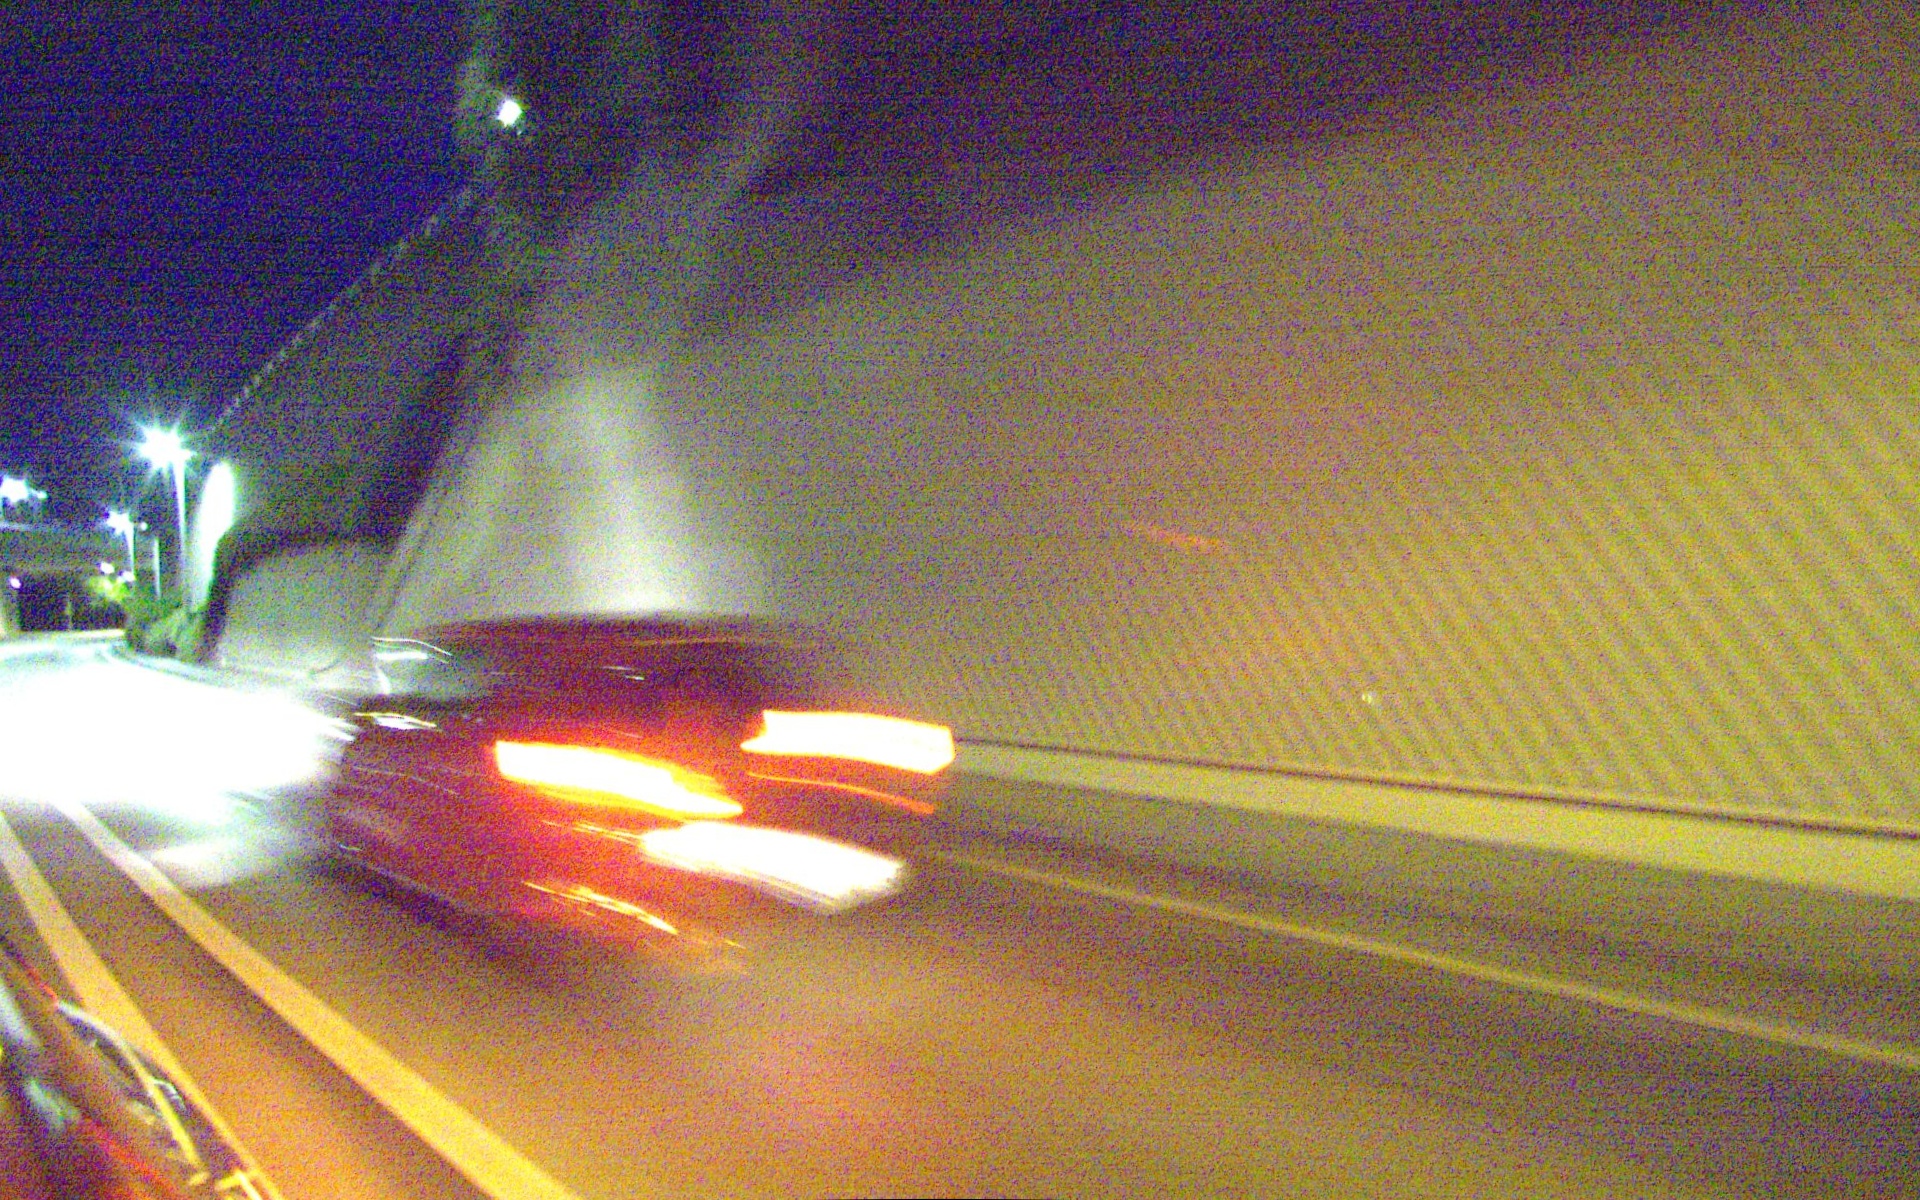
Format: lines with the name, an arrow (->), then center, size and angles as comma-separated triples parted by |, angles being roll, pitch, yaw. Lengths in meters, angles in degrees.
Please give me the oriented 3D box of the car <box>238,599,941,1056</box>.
car -> -2.287, 0.788, 5.443 | 4.393, 1.453, 1.698 | -1, 1, 42
